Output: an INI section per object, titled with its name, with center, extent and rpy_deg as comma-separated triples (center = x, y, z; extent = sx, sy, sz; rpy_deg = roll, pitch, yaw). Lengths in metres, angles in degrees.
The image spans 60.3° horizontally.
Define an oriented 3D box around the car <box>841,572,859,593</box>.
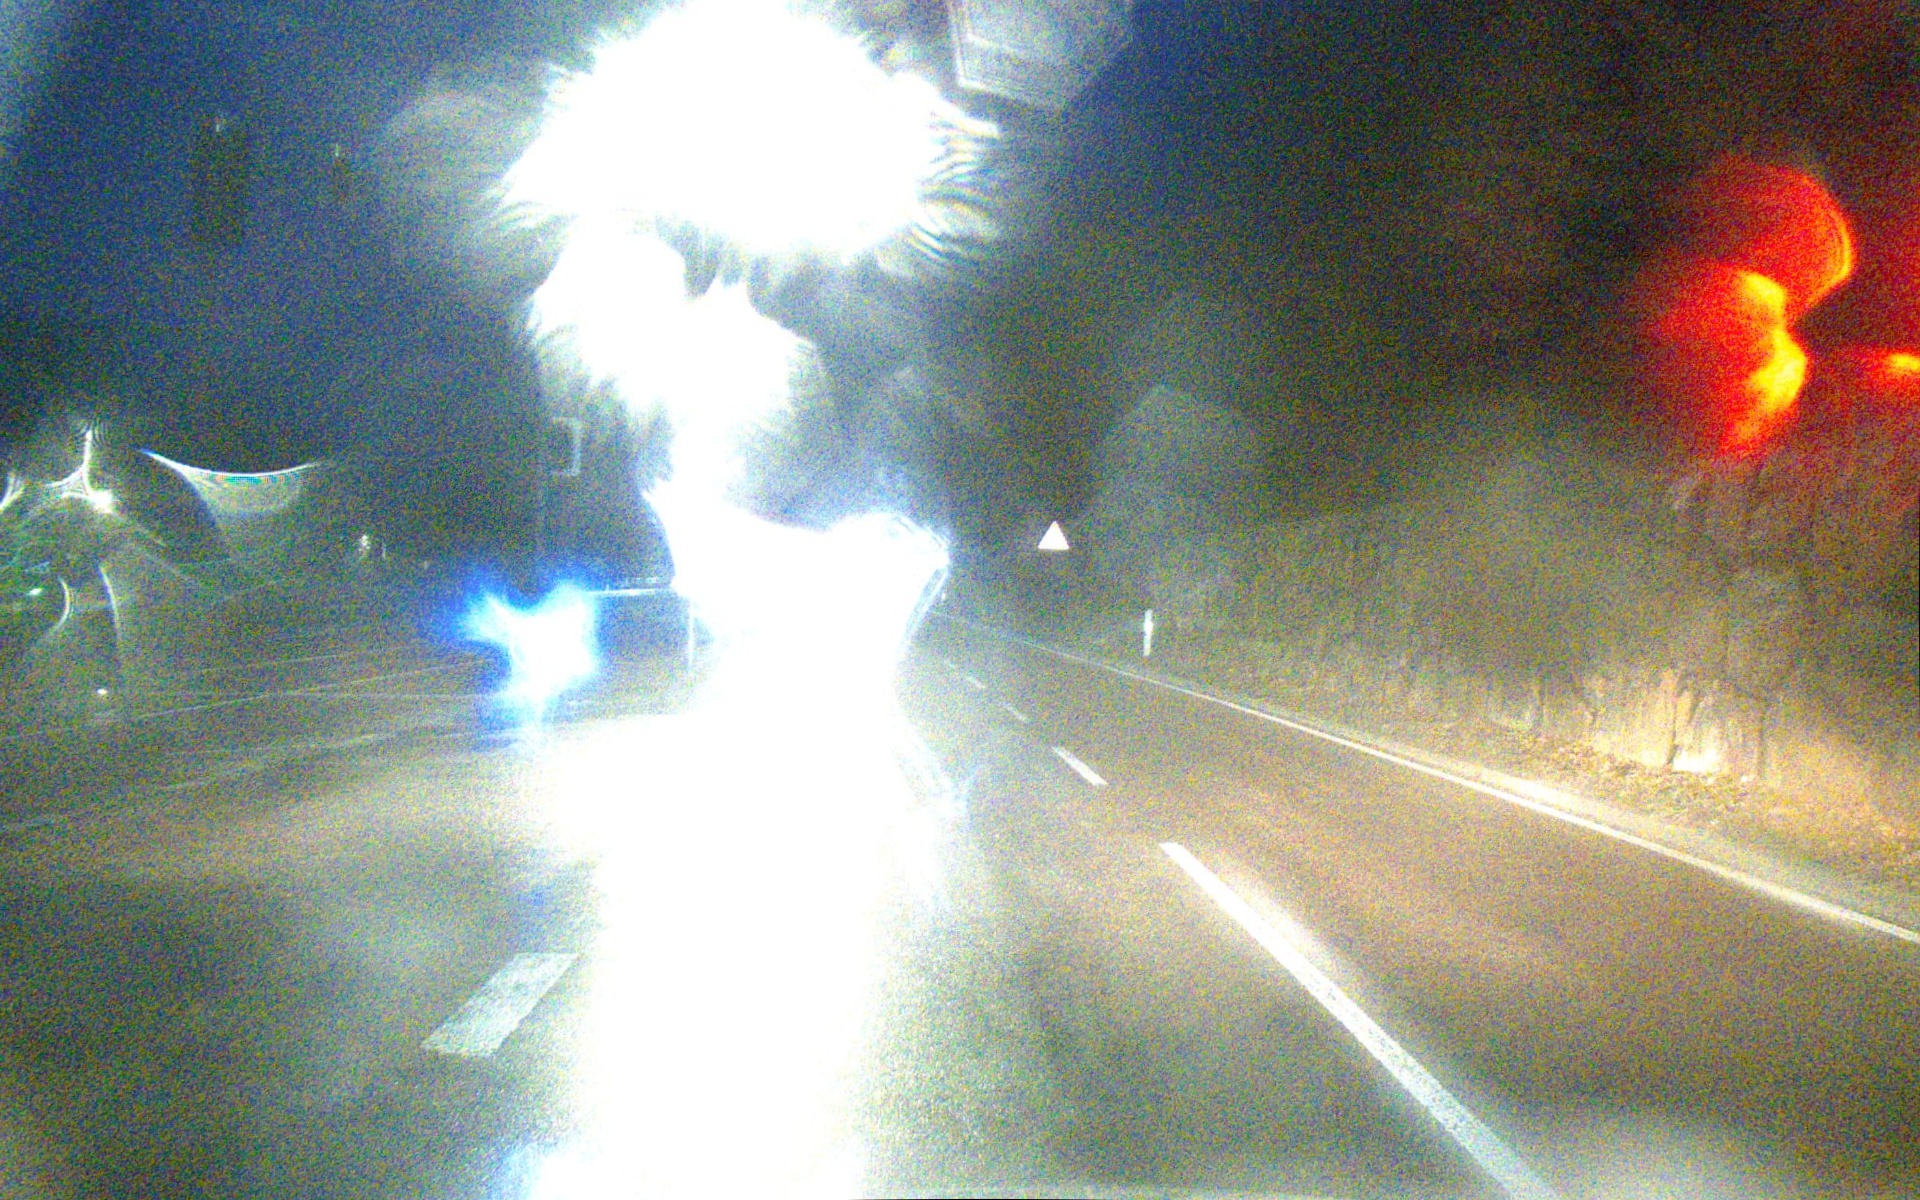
[car]
center = -11.222, -1.787, 169.198
extent = 1.755, 2.057, 4.577
rpy_deg = 1, 0, -3
